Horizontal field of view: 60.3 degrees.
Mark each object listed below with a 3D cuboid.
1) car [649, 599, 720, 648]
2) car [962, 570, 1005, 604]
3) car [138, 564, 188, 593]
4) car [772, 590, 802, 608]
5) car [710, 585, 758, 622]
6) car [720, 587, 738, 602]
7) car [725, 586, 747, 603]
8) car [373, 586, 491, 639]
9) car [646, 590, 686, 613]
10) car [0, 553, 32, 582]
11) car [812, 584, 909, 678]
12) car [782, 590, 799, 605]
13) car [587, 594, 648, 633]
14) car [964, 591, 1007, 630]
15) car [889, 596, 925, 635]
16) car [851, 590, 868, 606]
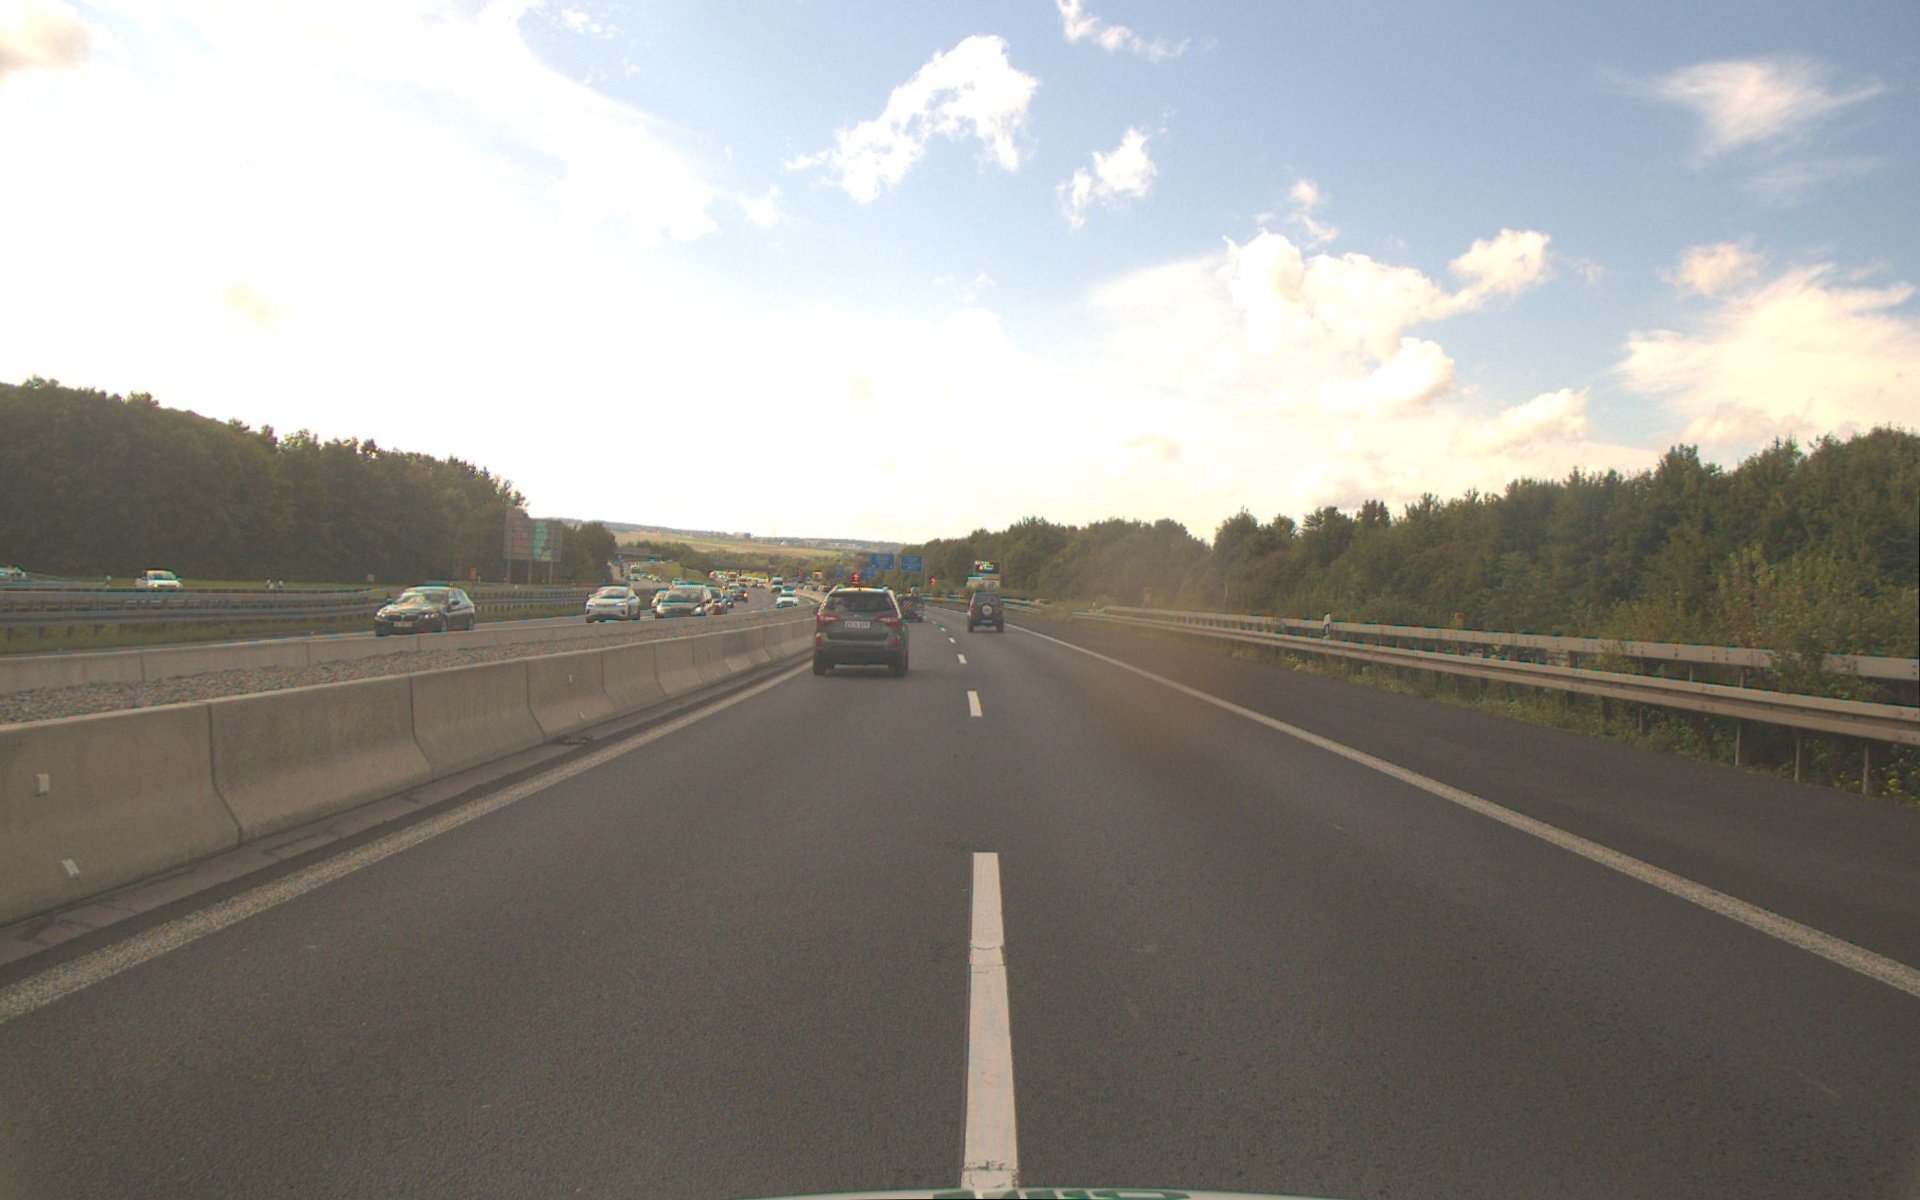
[{"bbox_3d":[-10.470,0.866,63.123,1.847,1.733,4.966,1,0,0],"label":"car"},{"bbox_3d":[3.265,-1.736,233.753,4.638,4.341,11.385,1,-1,-7],"label":"car"},{"bbox_3d":[-41.963,-1.127,87.039,1.766,1.456,4.571,1,0,-34],"label":"car"},{"bbox_3d":[-14.161,-0.080,135.645,2.005,1.361,5.605,1,0,-2],"label":"car"},{"bbox_3d":[-11.463,0.161,84.195,1.848,1.816,4.951,1,0,-2],"label":"car"},{"bbox_3d":[-29.325,-0.700,210.284,1.954,1.846,4.237,1,0,-5],"label":"car"},{"bbox_3d":[-23.845,-0.625,176.383,1.954,1.721,4.371,1,0,-3],"label":"car"},{"bbox_3d":[-15.201,0.337,47.856,1.953,1.427,4.812,1,0,-2],"label":"car"},{"bbox_3d":[-19.235,0.077,108.336,1.848,1.455,4.576,1,0,-2],"label":"car"},{"bbox_3d":[-59.873,-2.041,101.760,5.099,1.701,1.942,1,0,19],"label":"car"},{"bbox_3d":[-1.987,0.613,34.354,1.781,1.766,5.185,1,-1,-1],"label":"car"},{"bbox_3d":[-22.970,-0.415,224.167,1.954,1.953,5.146,2,0,-3],"label":"car"},{"bbox_3d":[-15.136,0.559,73.285,1.848,1.638,4.963,1,0,-3],"label":"car"},{"bbox_3d":[1.113,0.447,74.511,1.556,1.625,4.092,1,0,-4],"label":"car"},{"bbox_3d":[-3.092,0.875,96.969,1.989,2.189,3.999,1,0,-1],"label":"car"},{"bbox_3d":[-12.254,-0.233,202.078,1.955,1.713,3.995,1,-1,-6],"label":"car"}]
